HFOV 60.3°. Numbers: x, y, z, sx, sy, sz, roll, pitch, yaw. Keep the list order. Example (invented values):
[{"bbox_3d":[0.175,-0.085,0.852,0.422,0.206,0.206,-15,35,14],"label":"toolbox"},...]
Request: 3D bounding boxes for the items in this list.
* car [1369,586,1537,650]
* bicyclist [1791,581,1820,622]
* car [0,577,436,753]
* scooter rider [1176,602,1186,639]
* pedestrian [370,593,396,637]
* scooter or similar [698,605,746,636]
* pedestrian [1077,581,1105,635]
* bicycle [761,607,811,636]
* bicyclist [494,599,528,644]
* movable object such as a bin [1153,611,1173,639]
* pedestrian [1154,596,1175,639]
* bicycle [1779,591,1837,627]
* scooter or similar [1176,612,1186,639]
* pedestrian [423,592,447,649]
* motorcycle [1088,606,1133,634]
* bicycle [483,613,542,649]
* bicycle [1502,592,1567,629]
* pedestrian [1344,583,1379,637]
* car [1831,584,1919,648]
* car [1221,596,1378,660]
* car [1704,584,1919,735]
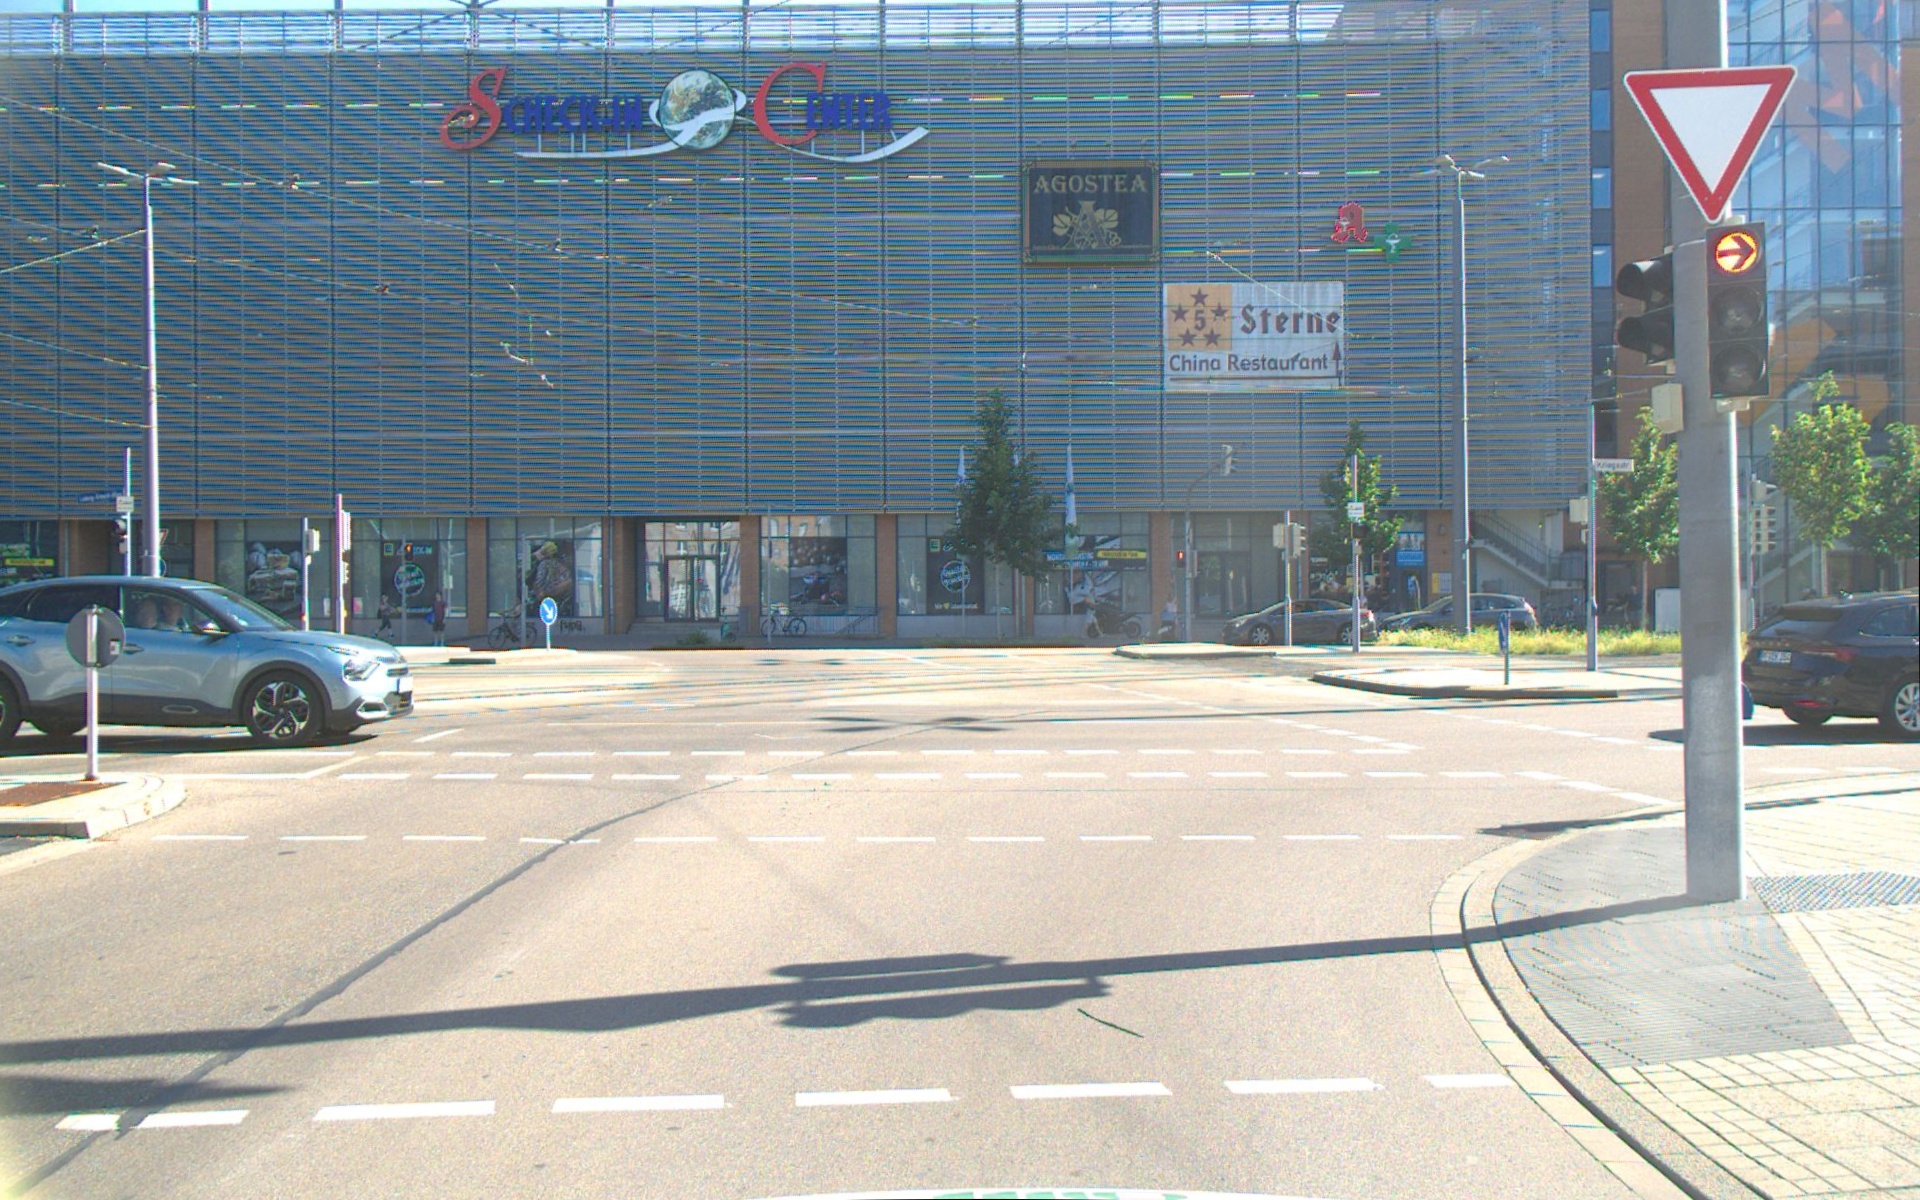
[{"bbox_3d":[13.672,0.499,46.043,4.063,1.495,1.840,3,-1,-2],"label":"car"},{"bbox_3d":[30.323,0.049,59.329,0.738,1.410,0.565,-1,1,-1],"label":"bicyclist"},{"bbox_3d":[-7.266,0.567,15.542,4.181,1.540,1.707,0,0,-5],"label":"car"},{"bbox_3d":[7.363,0.671,55.127,0.282,1.221,0.386,1,-1,10],"label":"scooter rider"},{"bbox_3d":[-21.425,0.562,61.425,0.646,1.629,0.594,1,-1,18],"label":"pedestrian"},{"bbox_3d":[-8.744,0.752,60.776,1.759,1.085,0.611,0,1,-9],"label":"scooter or similar"},{"bbox_3d":[4.740,0.288,59.716,0.930,1.860,0.846,-2,-4,5],"label":"pedestrian"},{"bbox_3d":[-6.363,0.784,60.429,1.783,1.006,0.556,0,1,-11],"label":"bicycle"},{"bbox_3d":[-14.797,0.695,54.540,0.663,1.452,0.844,0,2,42],"label":"bicyclist"},{"bbox_3d":[6.744,0.835,54.894,0.599,0.920,0.970,1,0,10],"label":"movable object such as a bin"},{"bbox_3d":[6.859,0.581,55.360,0.641,1.438,0.850,1,0,10],"label":"pedestrian"},{"bbox_3d":[30.413,0.325,59.333,1.819,1.238,0.569,-1,1,-2],"label":"bicycle"},{"bbox_3d":[7.368,0.837,55.187,0.288,0.888,1.004,1,0,10],"label":"scooter or similar"},{"bbox_3d":[-17.336,0.668,54.664,0.683,1.829,0.727,-2,0,-17],"label":"pedestrian"},{"bbox_3d":[5.531,0.732,60.704,1.605,1.022,0.447,1,0,6],"label":"motorcycle"},{"bbox_3d":[-14.765,1.012,54.616,0.559,1.105,1.852,0,2,42],"label":"bicycle"},{"bbox_3d":[21.291,0.393,61.349,2.209,1.318,0.605,1,-1,-2],"label":"bicycle"},{"bbox_3d":[14.272,0.349,58.806,0.991,1.860,1.036,-2,0,3],"label":"pedestrian"},{"bbox_3d":[29.181,0.483,50.613,4.245,1.895,1.837,0,-1,-9],"label":"car"},{"bbox_3d":[10.052,0.836,49.171,4.203,1.611,1.840,3,-1,-2],"label":"car"},{"bbox_3d":[10.671,0.575,17.838,4.582,1.487,1.830,-1,0,-9],"label":"car"}]
